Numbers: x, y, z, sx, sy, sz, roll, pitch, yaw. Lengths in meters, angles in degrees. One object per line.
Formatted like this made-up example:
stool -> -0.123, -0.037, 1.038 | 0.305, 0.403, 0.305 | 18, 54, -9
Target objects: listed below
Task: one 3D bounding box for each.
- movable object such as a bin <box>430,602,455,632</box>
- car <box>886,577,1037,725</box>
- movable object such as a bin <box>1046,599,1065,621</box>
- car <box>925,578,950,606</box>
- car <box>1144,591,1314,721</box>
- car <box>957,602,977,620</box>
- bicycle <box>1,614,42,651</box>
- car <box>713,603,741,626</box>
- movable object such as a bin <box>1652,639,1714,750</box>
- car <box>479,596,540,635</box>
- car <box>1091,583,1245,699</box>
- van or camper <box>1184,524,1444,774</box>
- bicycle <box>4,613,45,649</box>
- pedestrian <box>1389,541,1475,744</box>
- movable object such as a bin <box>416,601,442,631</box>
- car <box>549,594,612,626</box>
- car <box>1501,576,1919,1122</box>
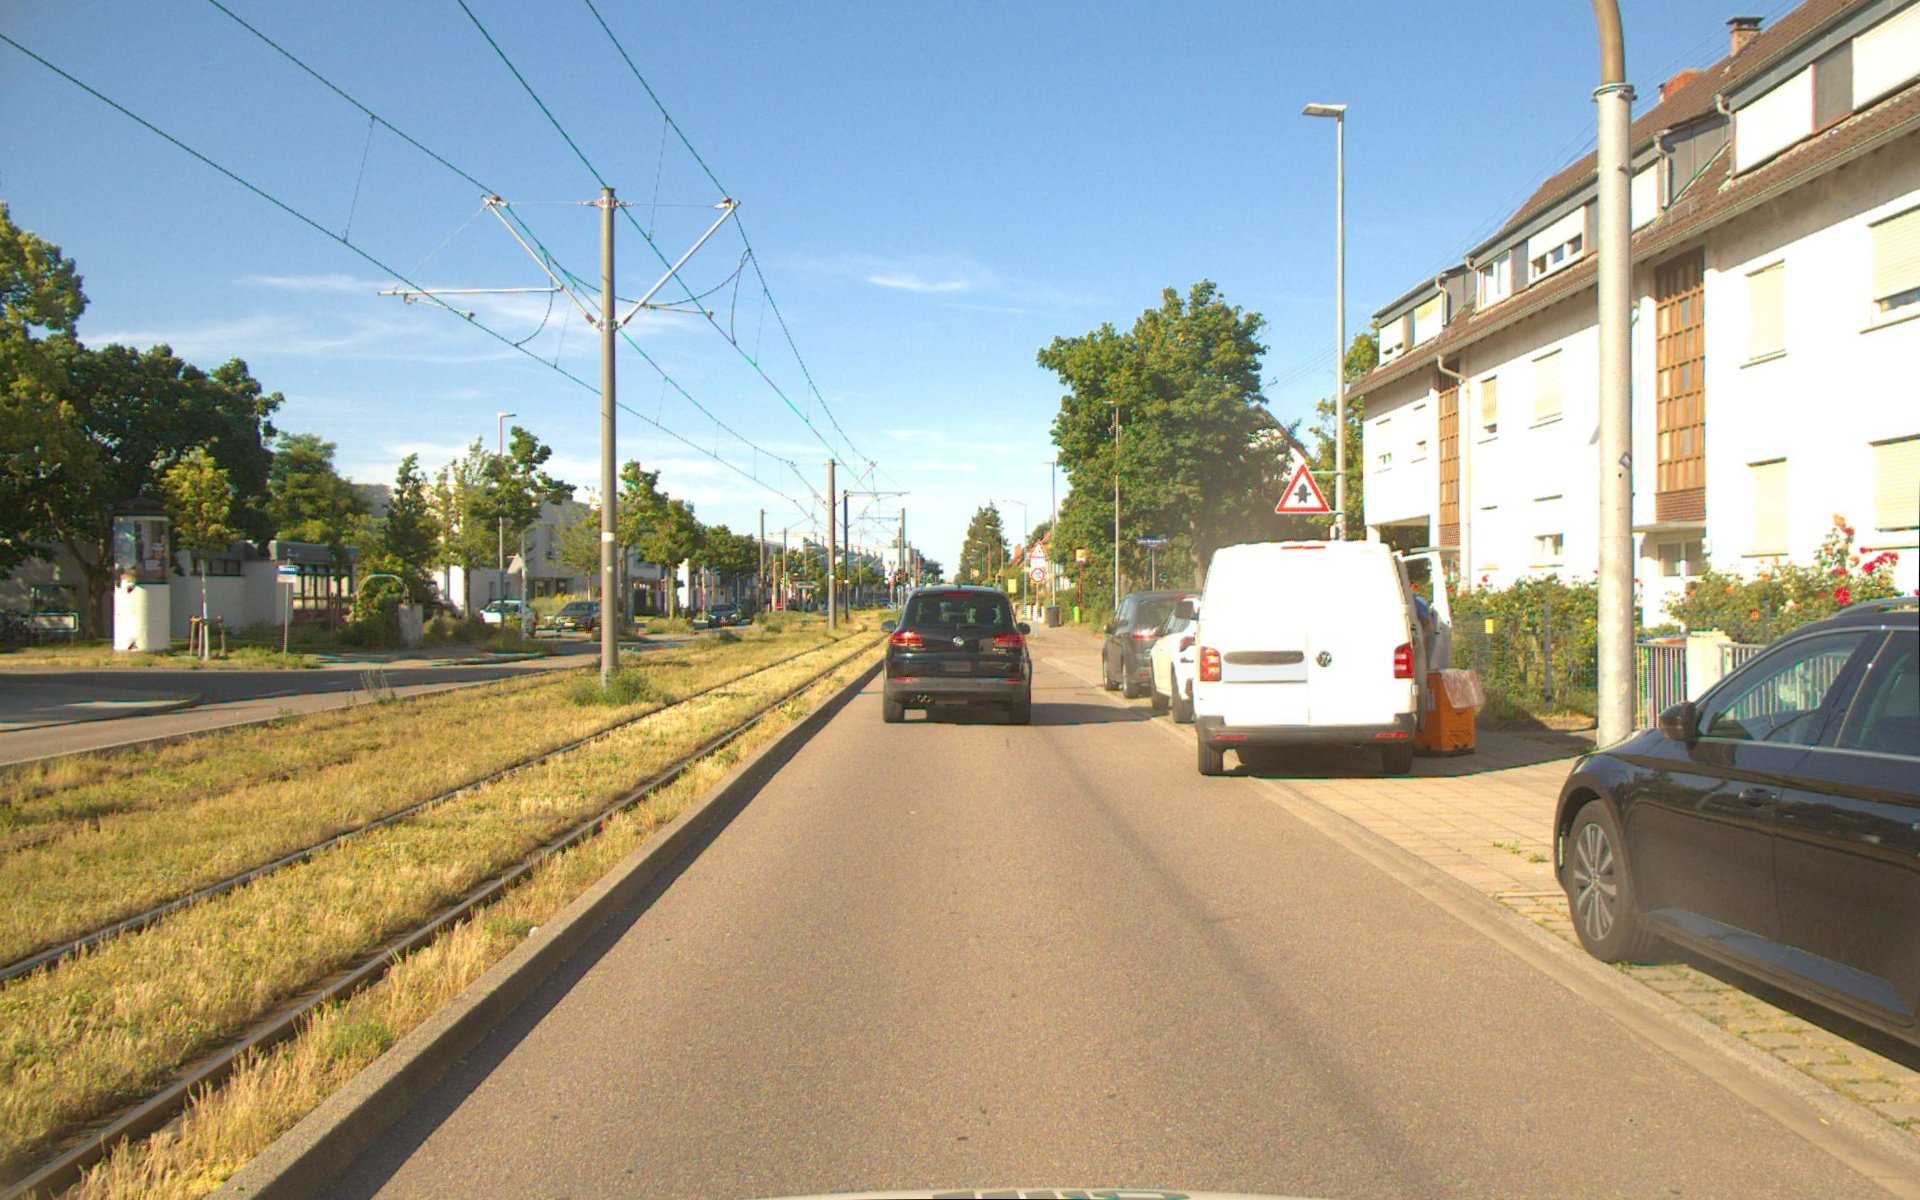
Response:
movable object such as a bin -> -25.762, 0.849, 82.346 | 0.650, 1.459, 1.255 | 1, -1, 7
car -> -0.068, 0.606, 21.188 | 1.740, 1.699, 3.998 | 1, 0, -3
movable object such as a bin -> 4.856, 0.506, 84.267 | 0.955, 1.130, 1.171 | 0, 0, 3
car -> -2.119, -0.716, 157.669 | 2.345, 2.609, 5.529 | 0, 0, 0
car -> 3.422, 0.676, 21.697 | 1.622, 1.518, 4.160 | -1, 0, 1
car -> 0.694, 1.044, 158.740 | 1.740, 1.699, 3.998 | 0, 0, -3
bicycle -> -28.432, 0.977, 50.121 | 1.037, 1.102, 0.303 | -1, 0, -18
car -> -14.742, 0.922, 104.774 | 1.656, 1.413, 4.380 | -2, 0, -7
movable object such as a bin -> 6.254, 0.809, 14.323 | 0.281, 0.925, 0.597 | 1, -1, 2
car -> -18.302, 0.620, 67.382 | 1.513, 1.517, 3.774 | 1, 0, -2
car -> 3.326, 0.608, 27.292 | 1.755, 1.657, 4.859 | -2, 0, -1
van or camper -> 3.181, 0.385, 15.879 | 1.985, 1.990, 5.299 | -1, 0, 7
bicycle -> -28.539, 0.948, 50.457 | 1.020, 1.077, 0.304 | -1, 0, -18
pedestrian -> 4.654, 0.411, 16.344 | 0.684, 1.946, 0.759 | 1, -1, 8
movable object such as a bin -> -25.936, 0.781, 80.750 | 0.650, 1.407, 1.422 | 1, 0, 7
car -> -18.492, 0.504, 80.757 | 1.772, 1.486, 4.319 | 1, 0, 4
car -> 3.503, 0.671, 5.398 | 1.713, 1.520, 5.154 | -2, 0, 0
